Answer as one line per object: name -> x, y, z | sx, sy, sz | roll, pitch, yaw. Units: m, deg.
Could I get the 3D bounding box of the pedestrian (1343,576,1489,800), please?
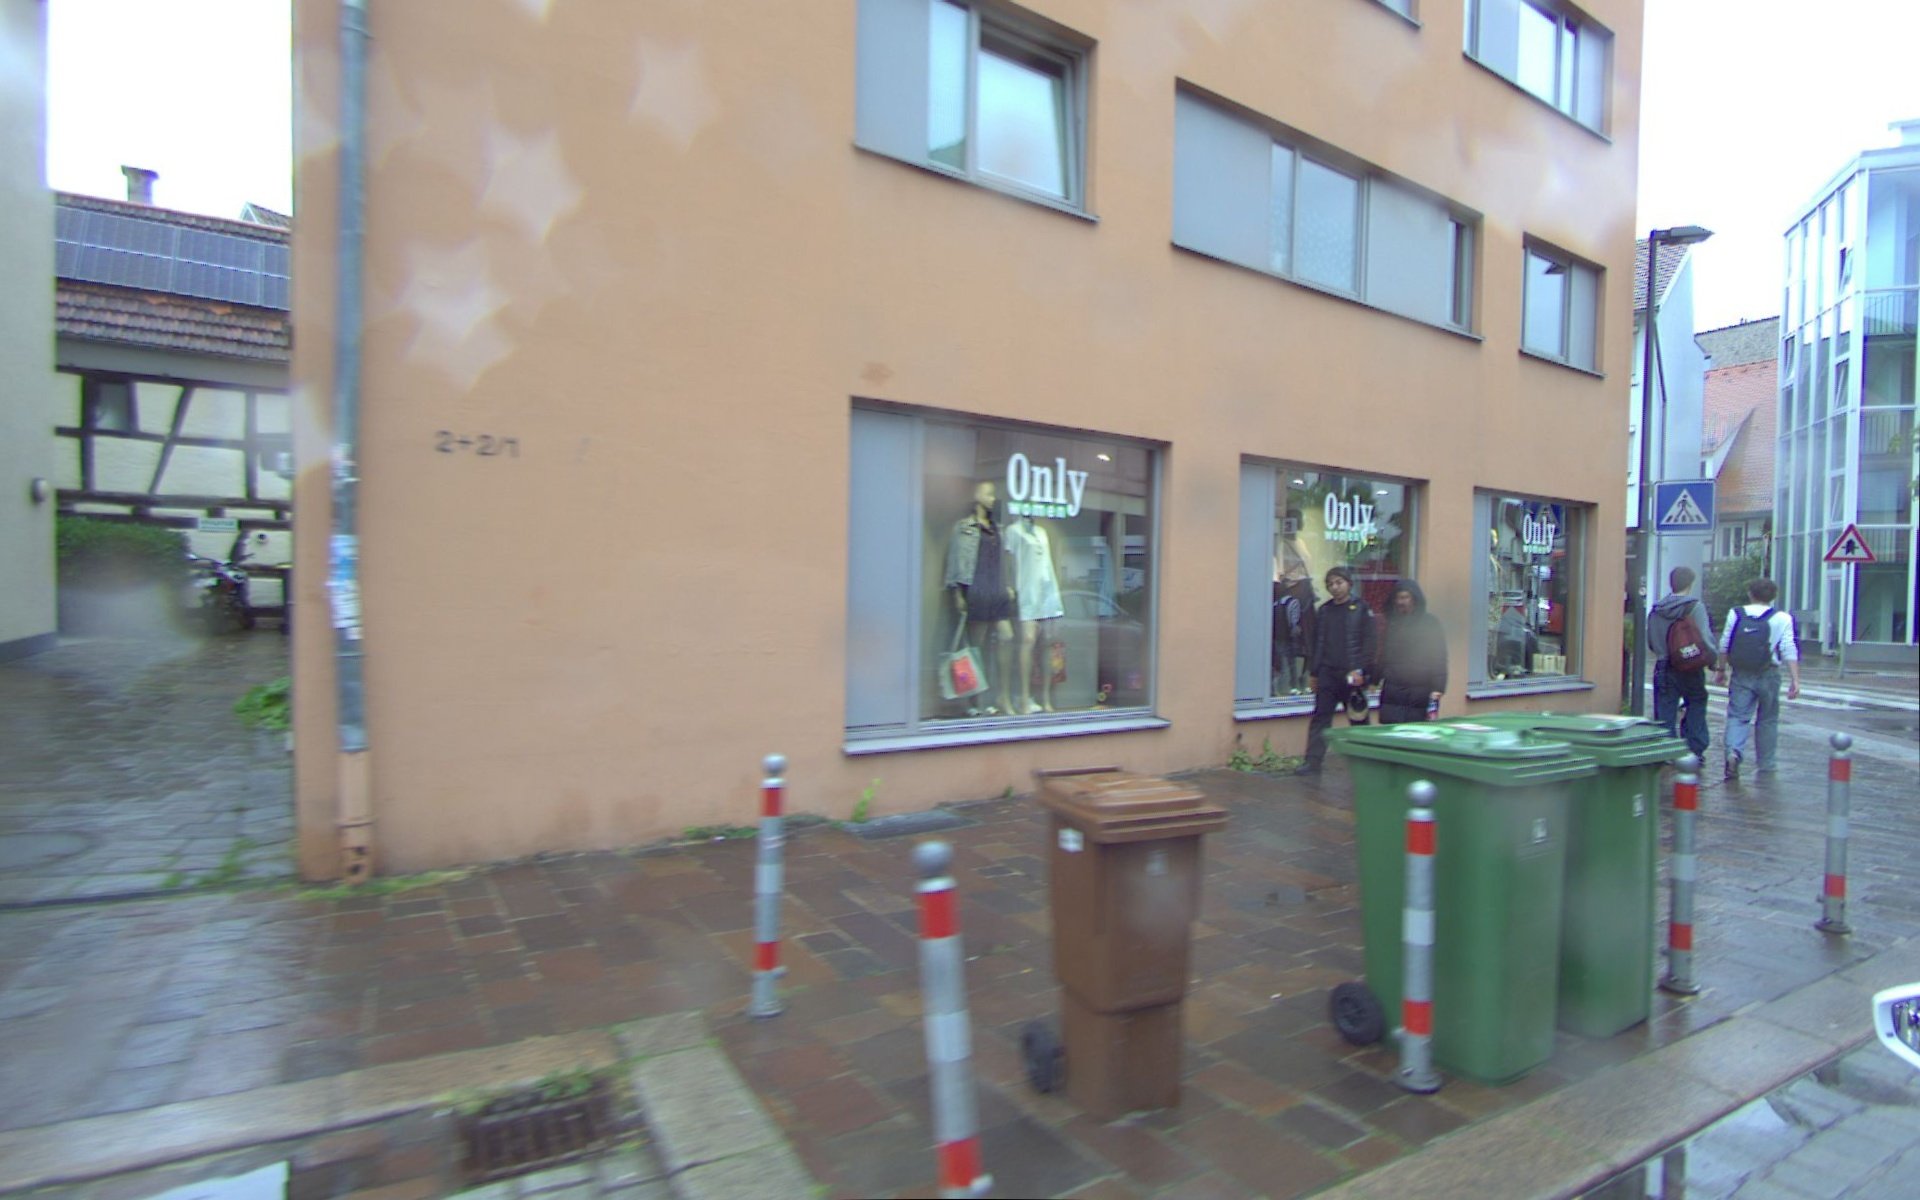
pedestrian -> 3.613, 0.655, 7.980 | 0.737, 1.661, 0.711 | 1, 2, -32

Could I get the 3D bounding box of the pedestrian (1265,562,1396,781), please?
pedestrian -> 3.119, 0.567, 8.461 | 0.800, 1.735, 0.619 | 1, 2, -32

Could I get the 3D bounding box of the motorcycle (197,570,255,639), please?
motorcycle -> -10.901, 0.055, 14.943 | 0.513, 0.943, 1.438 | 1, 2, -29

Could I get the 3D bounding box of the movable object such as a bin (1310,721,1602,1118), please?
movable object such as a bin -> 1.642, 0.981, 3.356 | 0.604, 1.050, 0.652 | 1, 0, -34

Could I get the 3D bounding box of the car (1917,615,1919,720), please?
car -> 12.098, 0.670, 10.413 | 1.917, 1.805, 4.719 | 1, 1, 28

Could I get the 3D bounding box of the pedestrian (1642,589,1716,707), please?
pedestrian -> 10.310, 0.664, 14.408 | 0.677, 1.631, 0.655 | 0, 1, -35

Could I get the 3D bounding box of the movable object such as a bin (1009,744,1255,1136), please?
movable object such as a bin -> 0.499, 0.960, 3.039 | 0.475, 0.939, 0.580 | 1, 1, -24

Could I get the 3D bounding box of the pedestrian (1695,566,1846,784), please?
pedestrian -> 7.227, 0.635, 8.966 | 1.047, 1.831, 0.661 | 1, 0, -27

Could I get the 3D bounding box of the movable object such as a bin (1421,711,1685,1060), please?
movable object such as a bin -> 2.188, 0.983, 3.729 | 0.604, 1.050, 0.652 | 0, 0, -34

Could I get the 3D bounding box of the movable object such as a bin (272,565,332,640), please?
movable object such as a bin -> -10.008, 0.028, 15.303 | 0.668, 1.093, 0.910 | 1, 2, -29

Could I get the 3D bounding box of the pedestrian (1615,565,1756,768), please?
pedestrian -> 6.918, 0.602, 9.585 | 1.045, 1.824, 0.689 | 1, 0, -28
